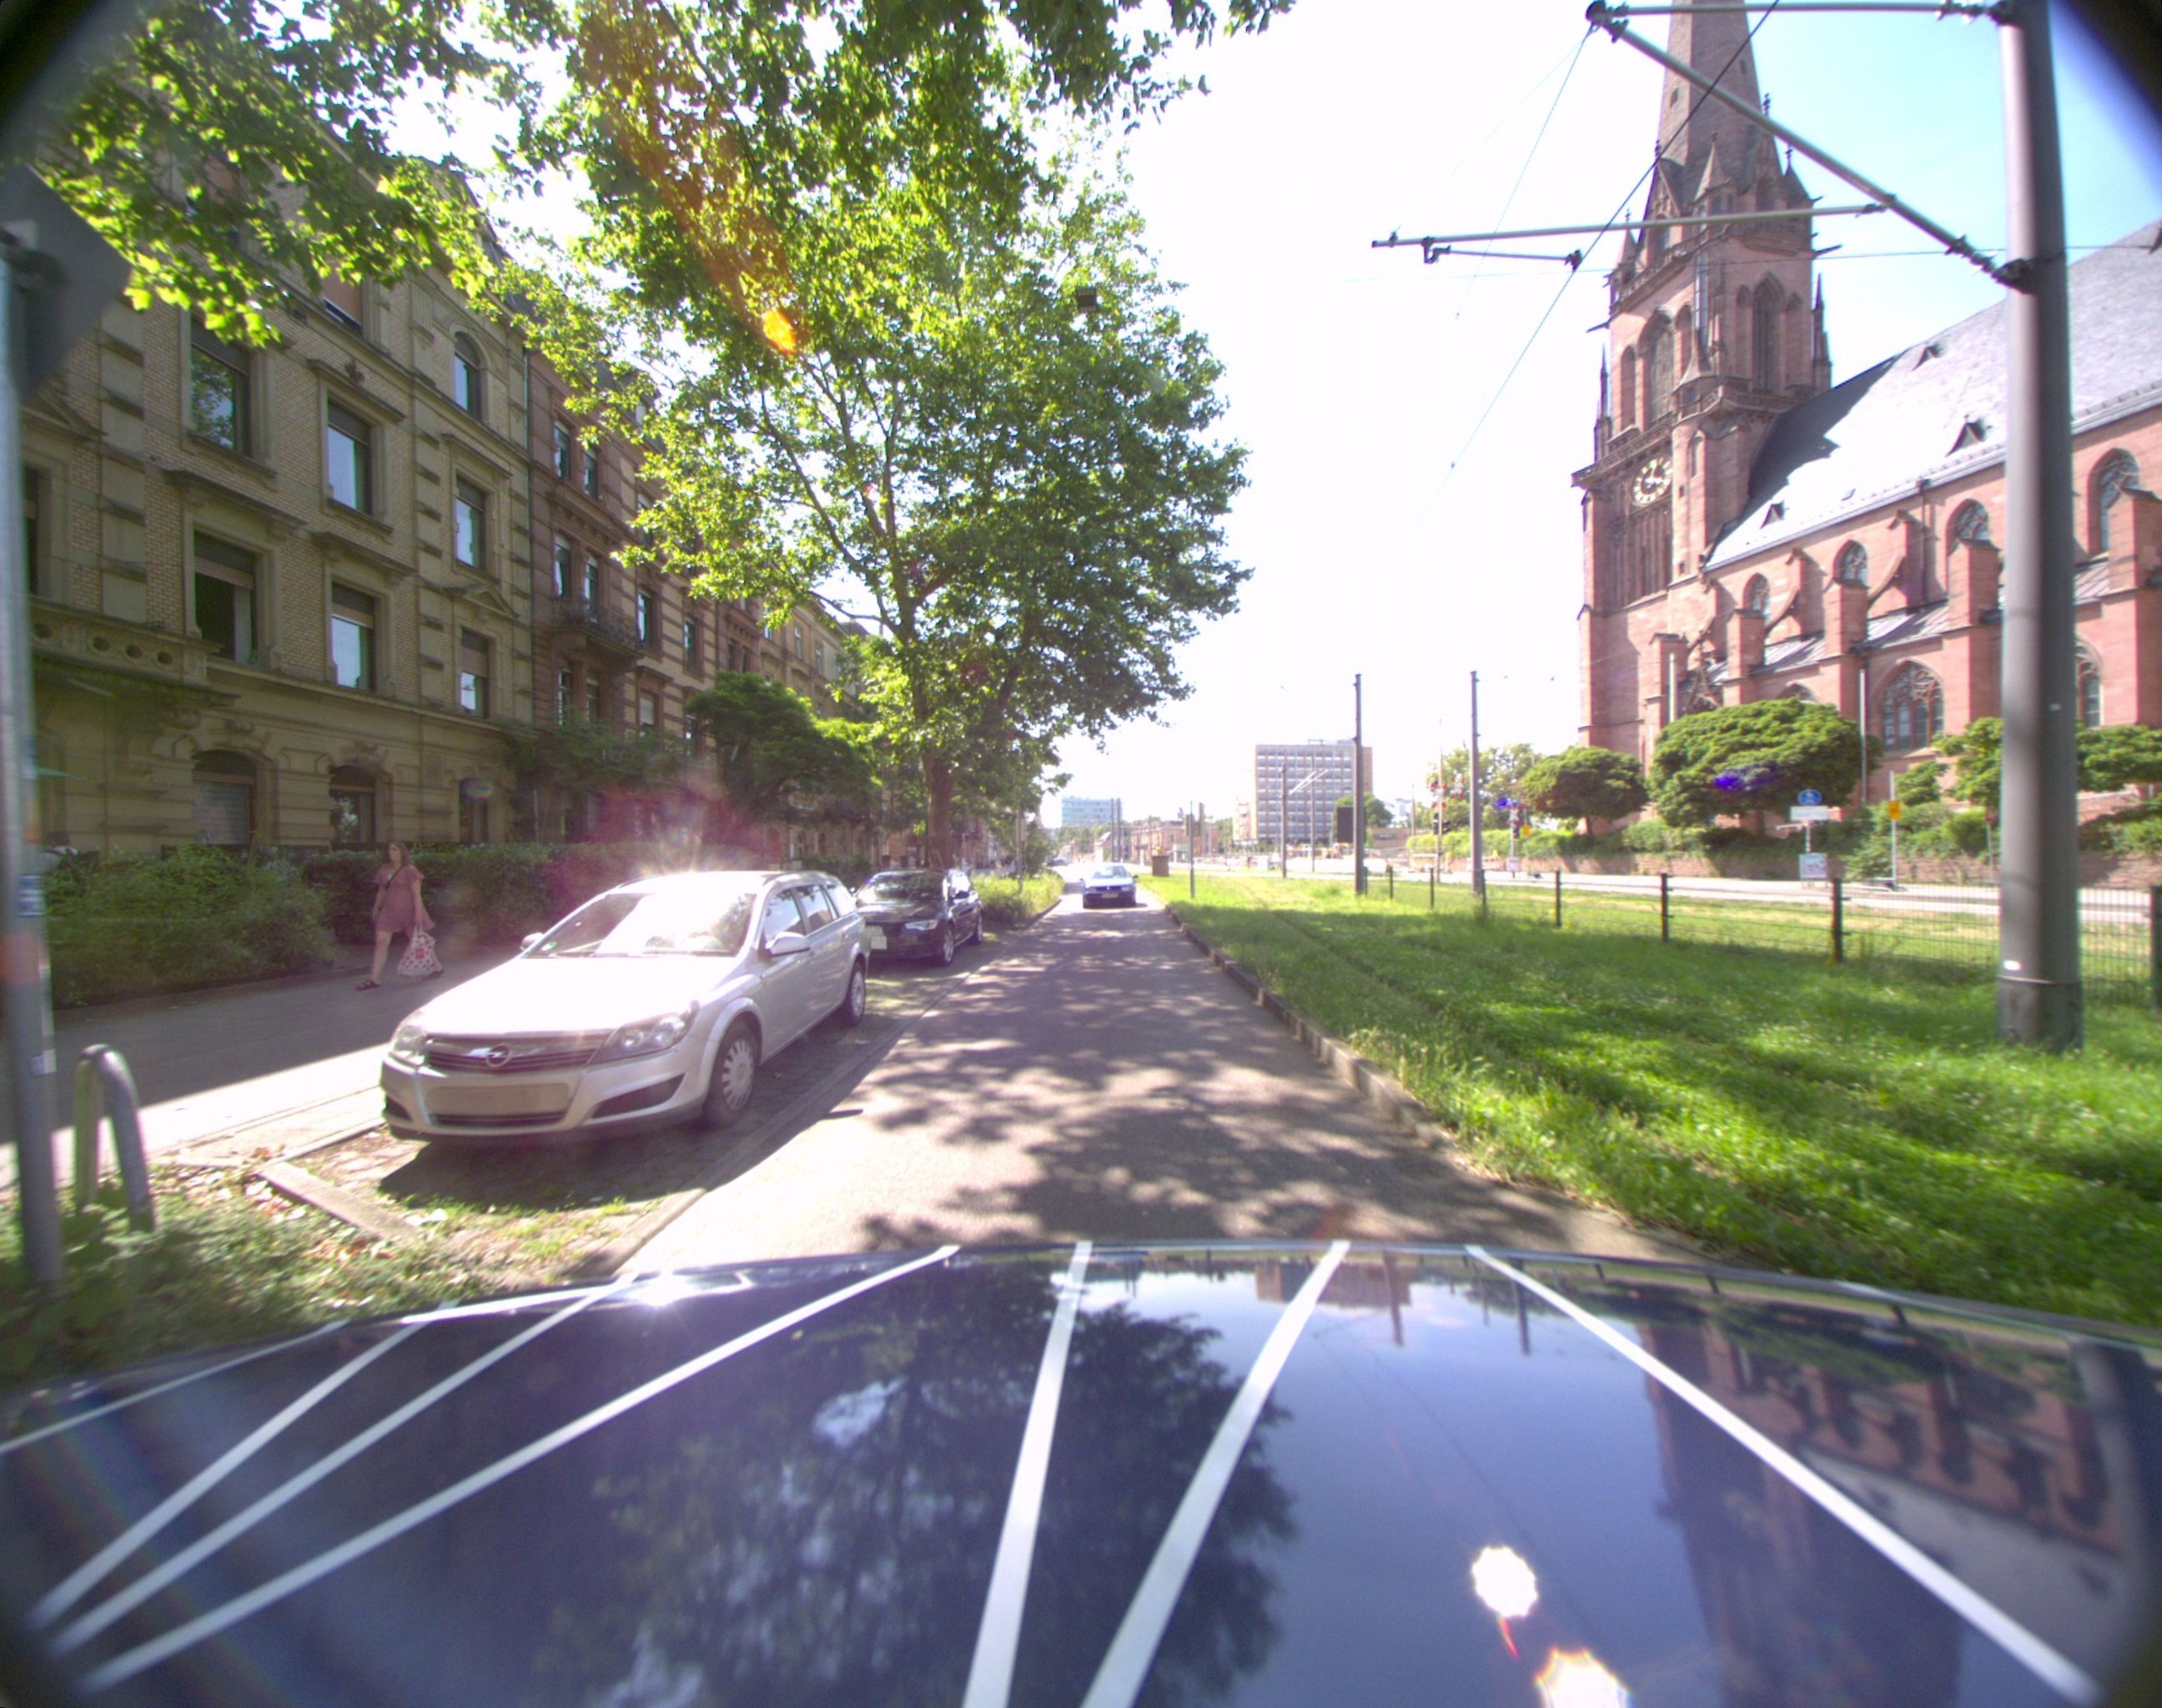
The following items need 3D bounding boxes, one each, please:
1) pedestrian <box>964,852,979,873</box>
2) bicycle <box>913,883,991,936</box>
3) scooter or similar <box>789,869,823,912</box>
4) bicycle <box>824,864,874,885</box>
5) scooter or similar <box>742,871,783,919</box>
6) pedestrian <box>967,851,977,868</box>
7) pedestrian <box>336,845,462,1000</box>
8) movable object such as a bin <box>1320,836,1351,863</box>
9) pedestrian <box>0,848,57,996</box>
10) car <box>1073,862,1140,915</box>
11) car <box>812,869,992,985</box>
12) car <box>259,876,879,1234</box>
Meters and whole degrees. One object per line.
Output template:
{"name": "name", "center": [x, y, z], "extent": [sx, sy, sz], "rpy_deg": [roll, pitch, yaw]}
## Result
{"name": "pedestrian", "center": [-9.350, 0.720, 64.896], "extent": [0.796, 1.708, 0.969], "rpy_deg": [-1, 0, 20]}
{"name": "bicycle", "center": [-2.844, 1.206, 16.868], "extent": [1.641, 1.082, 0.470], "rpy_deg": [-1, 0, -33]}
{"name": "scooter or similar", "center": [-8.408, 1.095, 23.262], "extent": [0.583, 1.275, 1.145], "rpy_deg": [0, 0, 3]}
{"name": "bicycle", "center": [-12.786, 1.133, 41.912], "extent": [2.583, 1.105, 1.111], "rpy_deg": [-1, 0, -19]}
{"name": "scooter or similar", "center": [-8.601, 1.086, 20.540], "extent": [0.583, 1.240, 1.145], "rpy_deg": [-1, 0, 1]}
{"name": "pedestrian", "center": [-11.092, 0.519, 77.444], "extent": [0.797, 1.708, 0.967], "rpy_deg": [-1, 0, 0]}
{"name": "pedestrian", "center": [-8.243, 0.795, 9.222], "extent": [0.738, 1.775, 0.852], "rpy_deg": [1, 1, 0]}
{"name": "movable object such as a bin", "center": [37.358, -0.695, 111.615], "extent": [3.341, 3.859, 2.932], "rpy_deg": [-1, 0, -33]}
{"name": "pedestrian", "center": [-13.929, 0.853, 9.644], "extent": [0.852, 1.841, 0.738], "rpy_deg": [1, 1, -1]}
{"name": "car", "center": [0.839, 1.044, 24.556], "extent": [1.886, 1.401, 4.094], "rpy_deg": [-3, 0, 2]}
{"name": "car", "center": [-2.741, 1.052, 12.798], "extent": [1.838, 1.499, 4.643], "rpy_deg": [0, 0, 1]}
{"name": "car", "center": [-2.964, 0.996, 5.793], "extent": [1.838, 1.499, 4.490], "rpy_deg": [0, 0, -3]}
